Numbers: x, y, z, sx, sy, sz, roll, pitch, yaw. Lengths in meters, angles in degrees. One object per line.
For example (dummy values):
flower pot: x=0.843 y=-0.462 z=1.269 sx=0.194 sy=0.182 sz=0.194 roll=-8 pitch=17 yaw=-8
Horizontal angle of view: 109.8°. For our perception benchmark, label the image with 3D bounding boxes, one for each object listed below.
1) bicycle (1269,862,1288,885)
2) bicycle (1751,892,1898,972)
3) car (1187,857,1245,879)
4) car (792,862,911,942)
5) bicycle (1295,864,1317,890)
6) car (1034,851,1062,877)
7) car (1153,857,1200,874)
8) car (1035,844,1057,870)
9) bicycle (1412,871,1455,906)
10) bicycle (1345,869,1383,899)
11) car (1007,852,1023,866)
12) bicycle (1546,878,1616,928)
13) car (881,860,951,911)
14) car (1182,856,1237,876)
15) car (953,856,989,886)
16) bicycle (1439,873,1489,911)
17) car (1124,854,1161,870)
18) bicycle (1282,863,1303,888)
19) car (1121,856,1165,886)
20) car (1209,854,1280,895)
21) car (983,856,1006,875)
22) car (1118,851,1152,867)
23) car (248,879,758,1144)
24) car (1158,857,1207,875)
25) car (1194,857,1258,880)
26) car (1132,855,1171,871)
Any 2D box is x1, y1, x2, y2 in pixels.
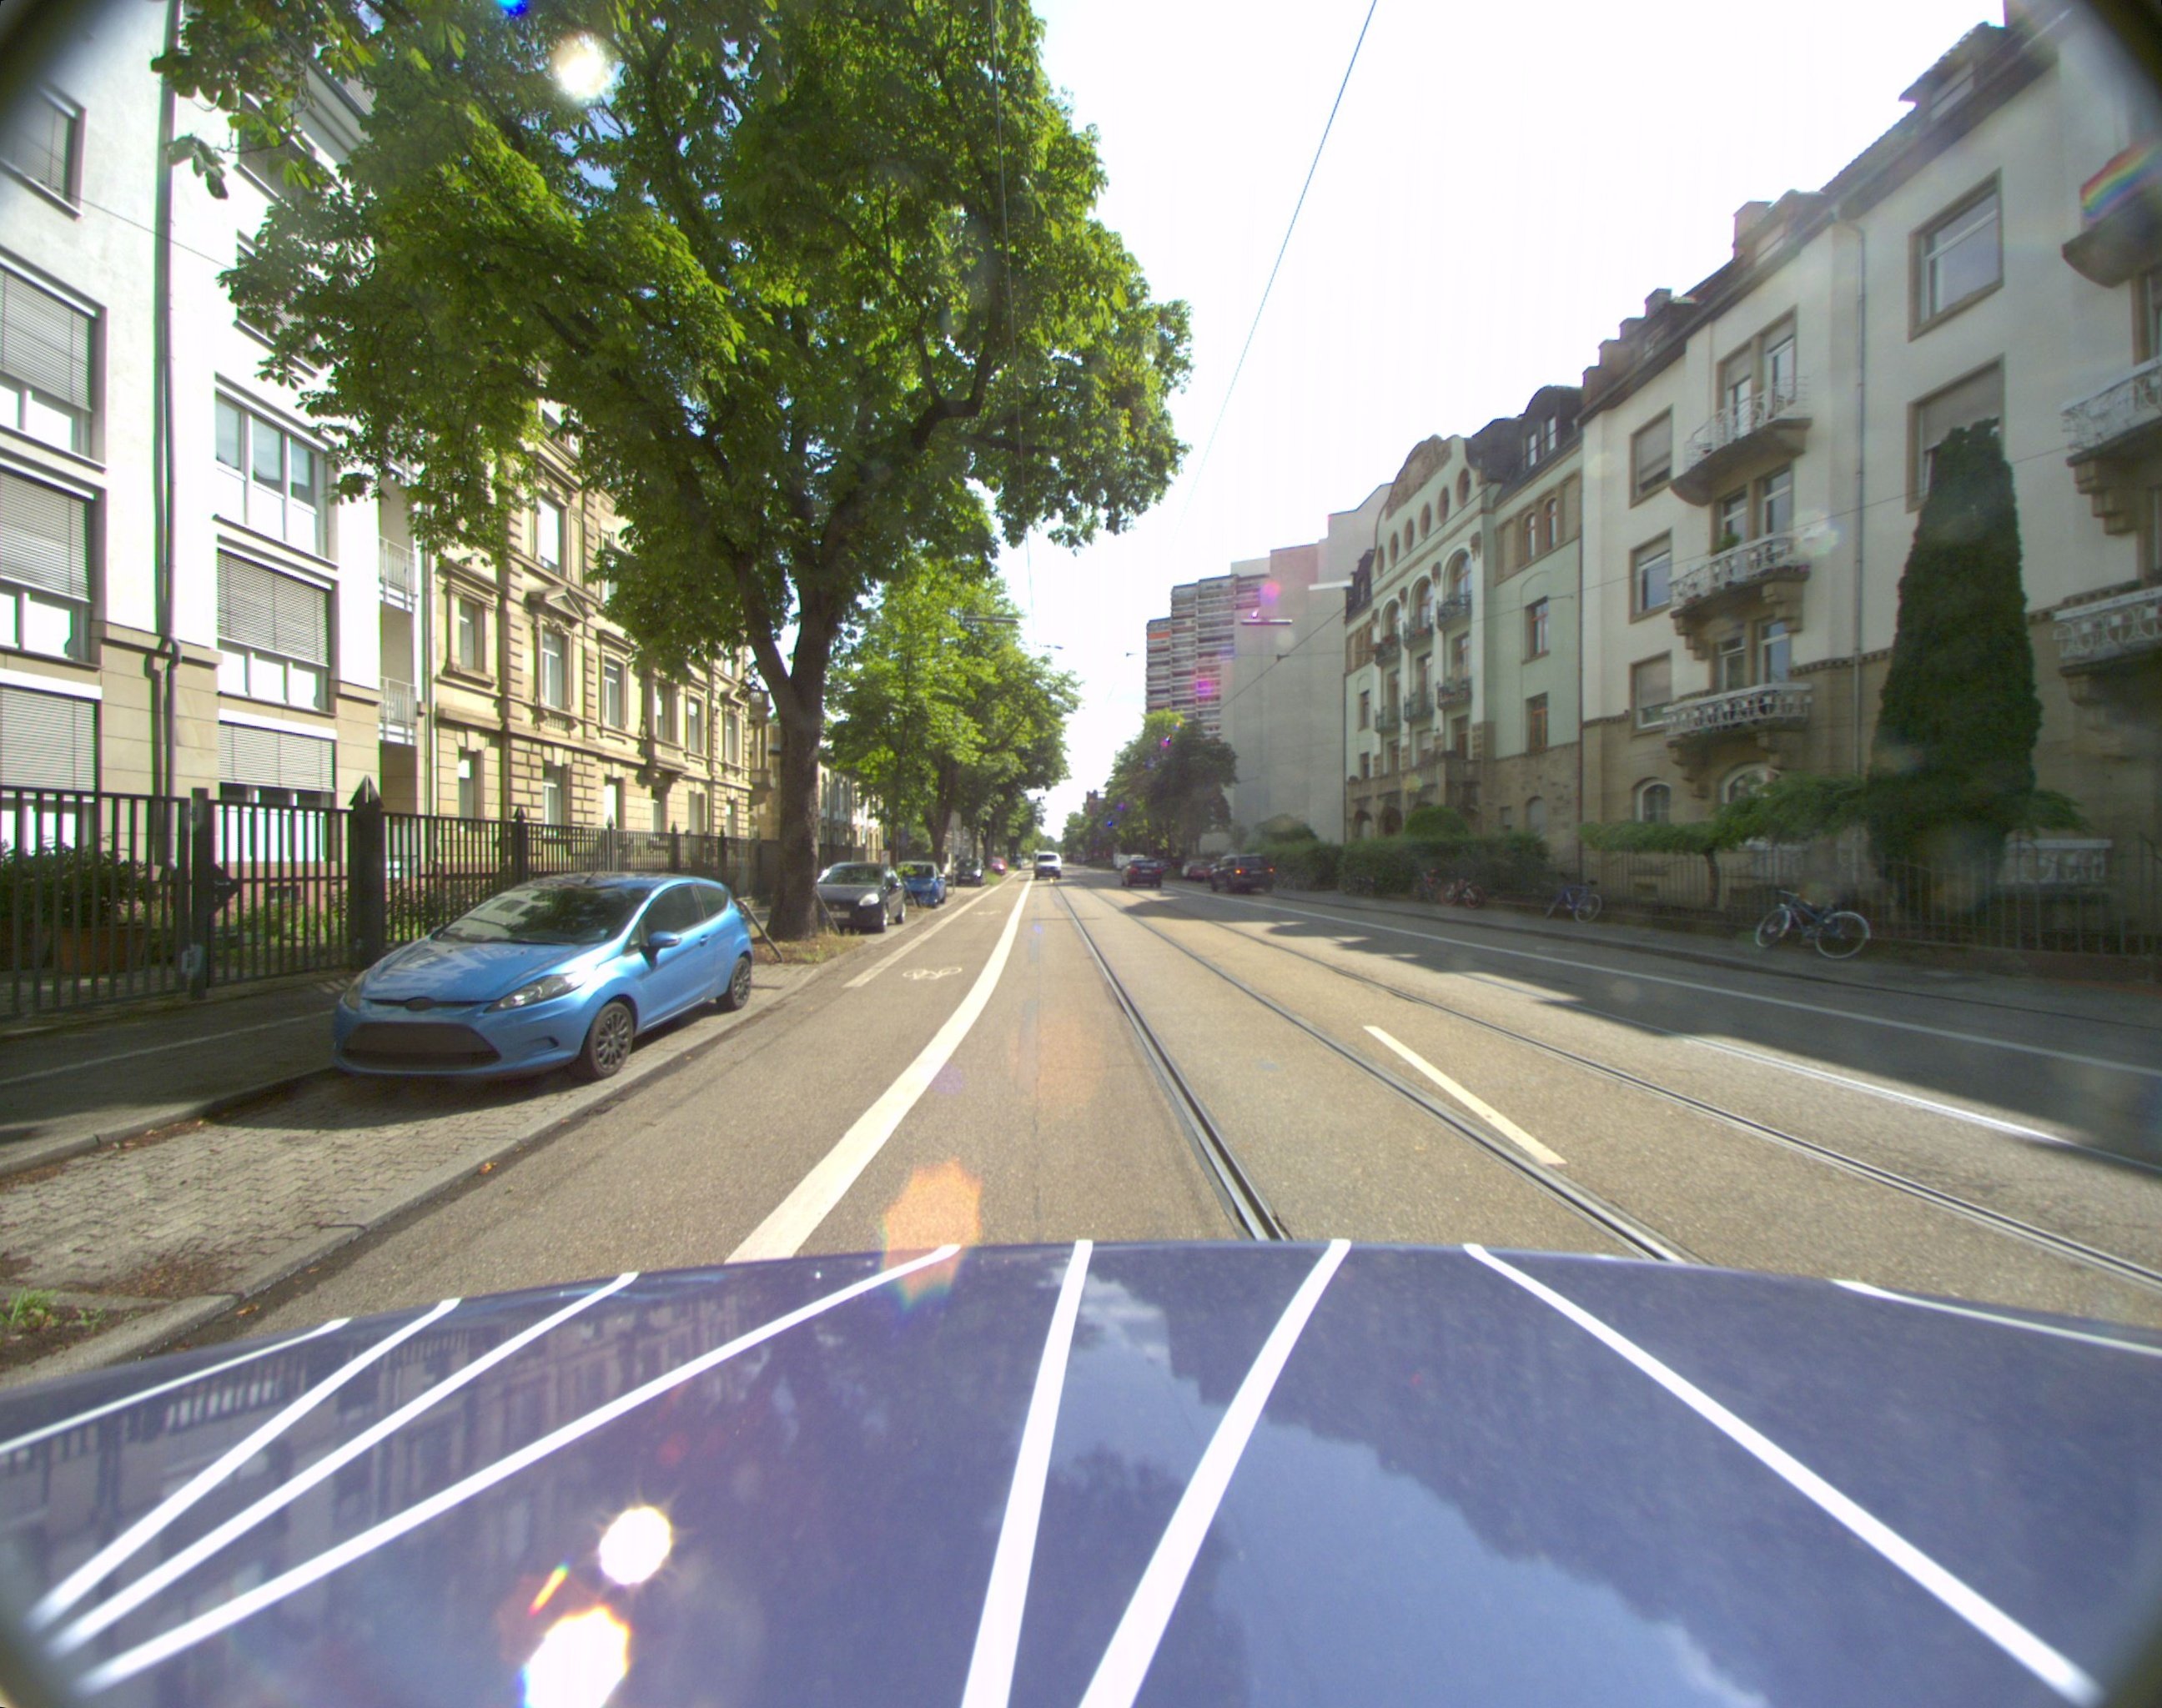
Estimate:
bicycle: x=9.947 y=0.956 z=38.300 sx=0.468 sy=1.128 sz=1.787 roll=0 pitch=0 yaw=-1
bicycle: x=11.089 y=1.123 z=11.437 sx=0.467 sy=0.990 sz=1.979 roll=0 pitch=0 yaw=7
car: x=9.472 y=0.952 z=53.594 sx=3.994 sy=1.499 sz=2.001 roll=0 pitch=0 yaw=8
car: x=-4.929 y=0.962 z=16.806 sx=1.679 sy=1.467 sz=3.659 roll=3 pitch=0 yaw=-4
bicycle: x=10.133 y=1.020 z=34.261 sx=0.468 sy=1.128 sz=1.787 roll=0 pitch=0 yaw=-1
car: x=-2.419 y=0.718 z=56.704 sx=1.974 sy=1.901 sz=4.817 roll=0 pitch=0 yaw=-2
car: x=8.359 y=0.984 z=66.346 sx=3.994 sy=1.499 sz=2.001 roll=0 pitch=0 yaw=8
car: x=-3.601 y=0.312 z=79.040 sx=2.146 sy=2.568 sz=4.817 roll=0 pitch=0 yaw=-2
bicycle: x=10.681 y=1.033 z=23.064 sx=0.468 sy=0.990 sz=1.787 roll=0 pitch=0 yaw=-1
bicycle: x=10.090 y=1.067 z=27.151 sx=0.605 sy=0.990 sz=1.981 roll=0 pitch=0 yaw=-1
car: x=-7.900 y=0.543 z=91.226 sx=1.744 sy=1.564 sz=3.928 roll=3 pitch=0 yaw=-4
bicycle: x=10.938 y=1.050 z=16.682 sx=0.467 sy=0.990 sz=1.787 roll=0 pitch=0 yaw=5
car: x=-5.344 y=0.981 z=25.020 sx=1.679 sy=1.467 sz=3.659 roll=3 pitch=0 yaw=-4
car: x=9.605 y=0.870 z=57.142 sx=3.994 sy=1.499 sz=2.001 roll=0 pitch=0 yaw=8
car: x=-6.259 y=0.955 z=43.597 sx=1.744 sy=1.564 sz=3.659 roll=3 pitch=0 yaw=-4
bicycle: x=10.644 y=1.039 z=21.166 sx=0.468 sy=0.990 sz=1.787 roll=0 pitch=0 yaw=-1
car: x=6.772 y=0.894 z=83.733 sx=3.994 sy=1.672 sz=2.001 roll=0 pitch=0 yaw=8
bicycle: x=10.049 y=1.000 z=36.203 sx=0.468 sy=1.128 sz=1.787 roll=0 pitch=0 yaw=-1
car: x=3.252 y=0.855 z=40.467 sx=1.761 sy=1.509 sz=4.067 roll=0 pitch=0 yaw=-4
car: x=7.230 y=0.852 z=34.120 sx=1.922 sy=1.685 sz=4.400 roll=0 pitch=0 yaw=-5
car: x=-7.532 y=0.960 z=66.553 sx=1.744 sy=1.564 sz=3.928 roll=3 pitch=0 yaw=-4
car: x=6.349 y=0.555 z=89.567 sx=1.994 sy=1.740 sz=4.008 roll=-1 pitch=1 yaw=41
car: x=-4.326 y=1.038 z=6.508 sx=1.647 sy=1.467 sz=3.660 roll=3 pitch=0 yaw=-3
car: x=8.458 y=0.971 z=63.190 sx=3.994 sy=1.499 sz=2.001 roll=0 pitch=0 yaw=8
car: x=9.509 y=0.943 z=50.086 sx=3.994 sy=1.499 sz=2.001 roll=0 pitch=0 yaw=8
car: x=7.357 y=0.912 z=79.308 sx=3.994 sy=1.672 sz=2.001 roll=0 pitch=0 yaw=8
